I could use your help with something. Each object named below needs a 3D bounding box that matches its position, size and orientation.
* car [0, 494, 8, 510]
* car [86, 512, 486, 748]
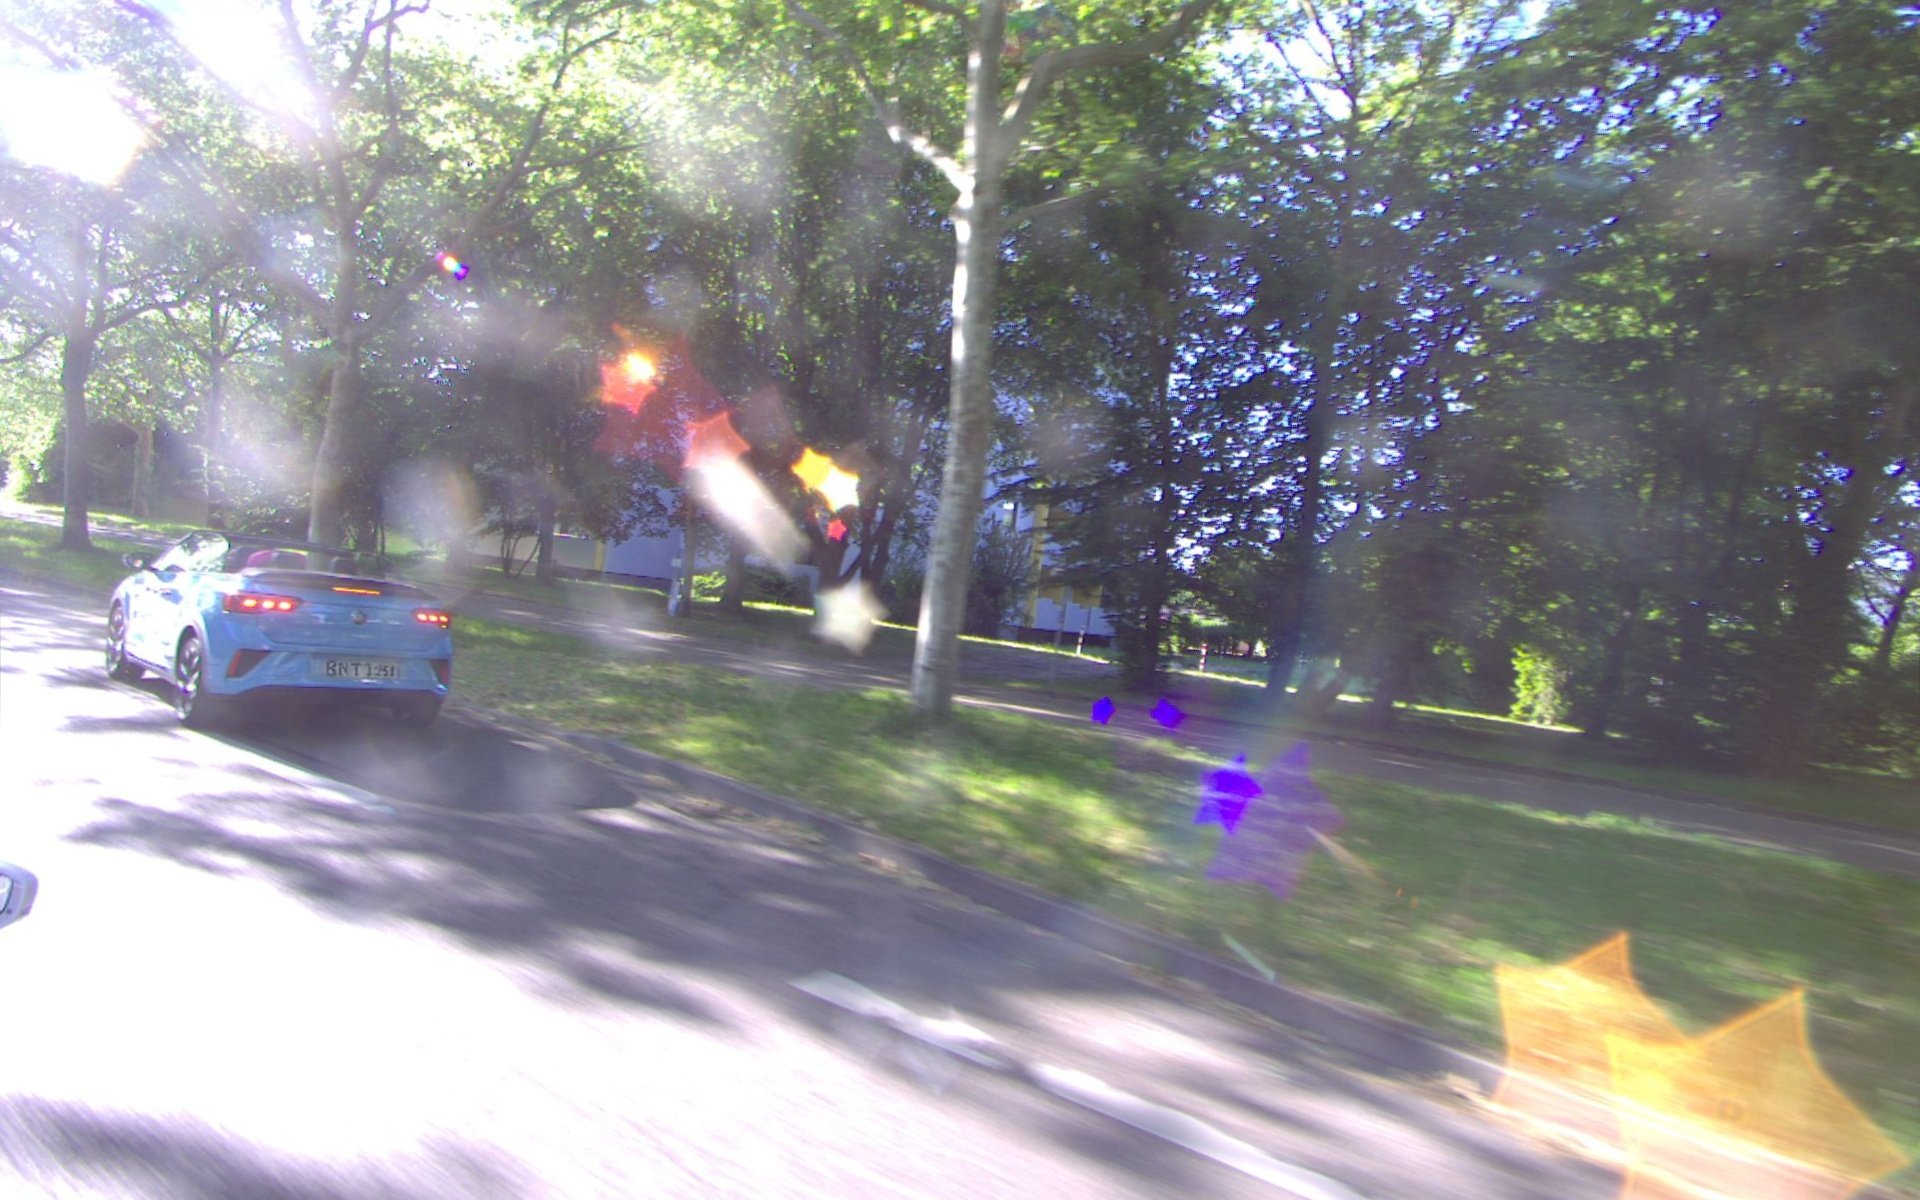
[{"bbox_3d":[-98.011,-10.119,100.159,4.325,1.576,1.856,9,-2,-33],"label":"car"},{"bbox_3d":[-6.084,0.179,8.895,4.041,1.501,1.775,7,-1,40],"label":"car"}]
